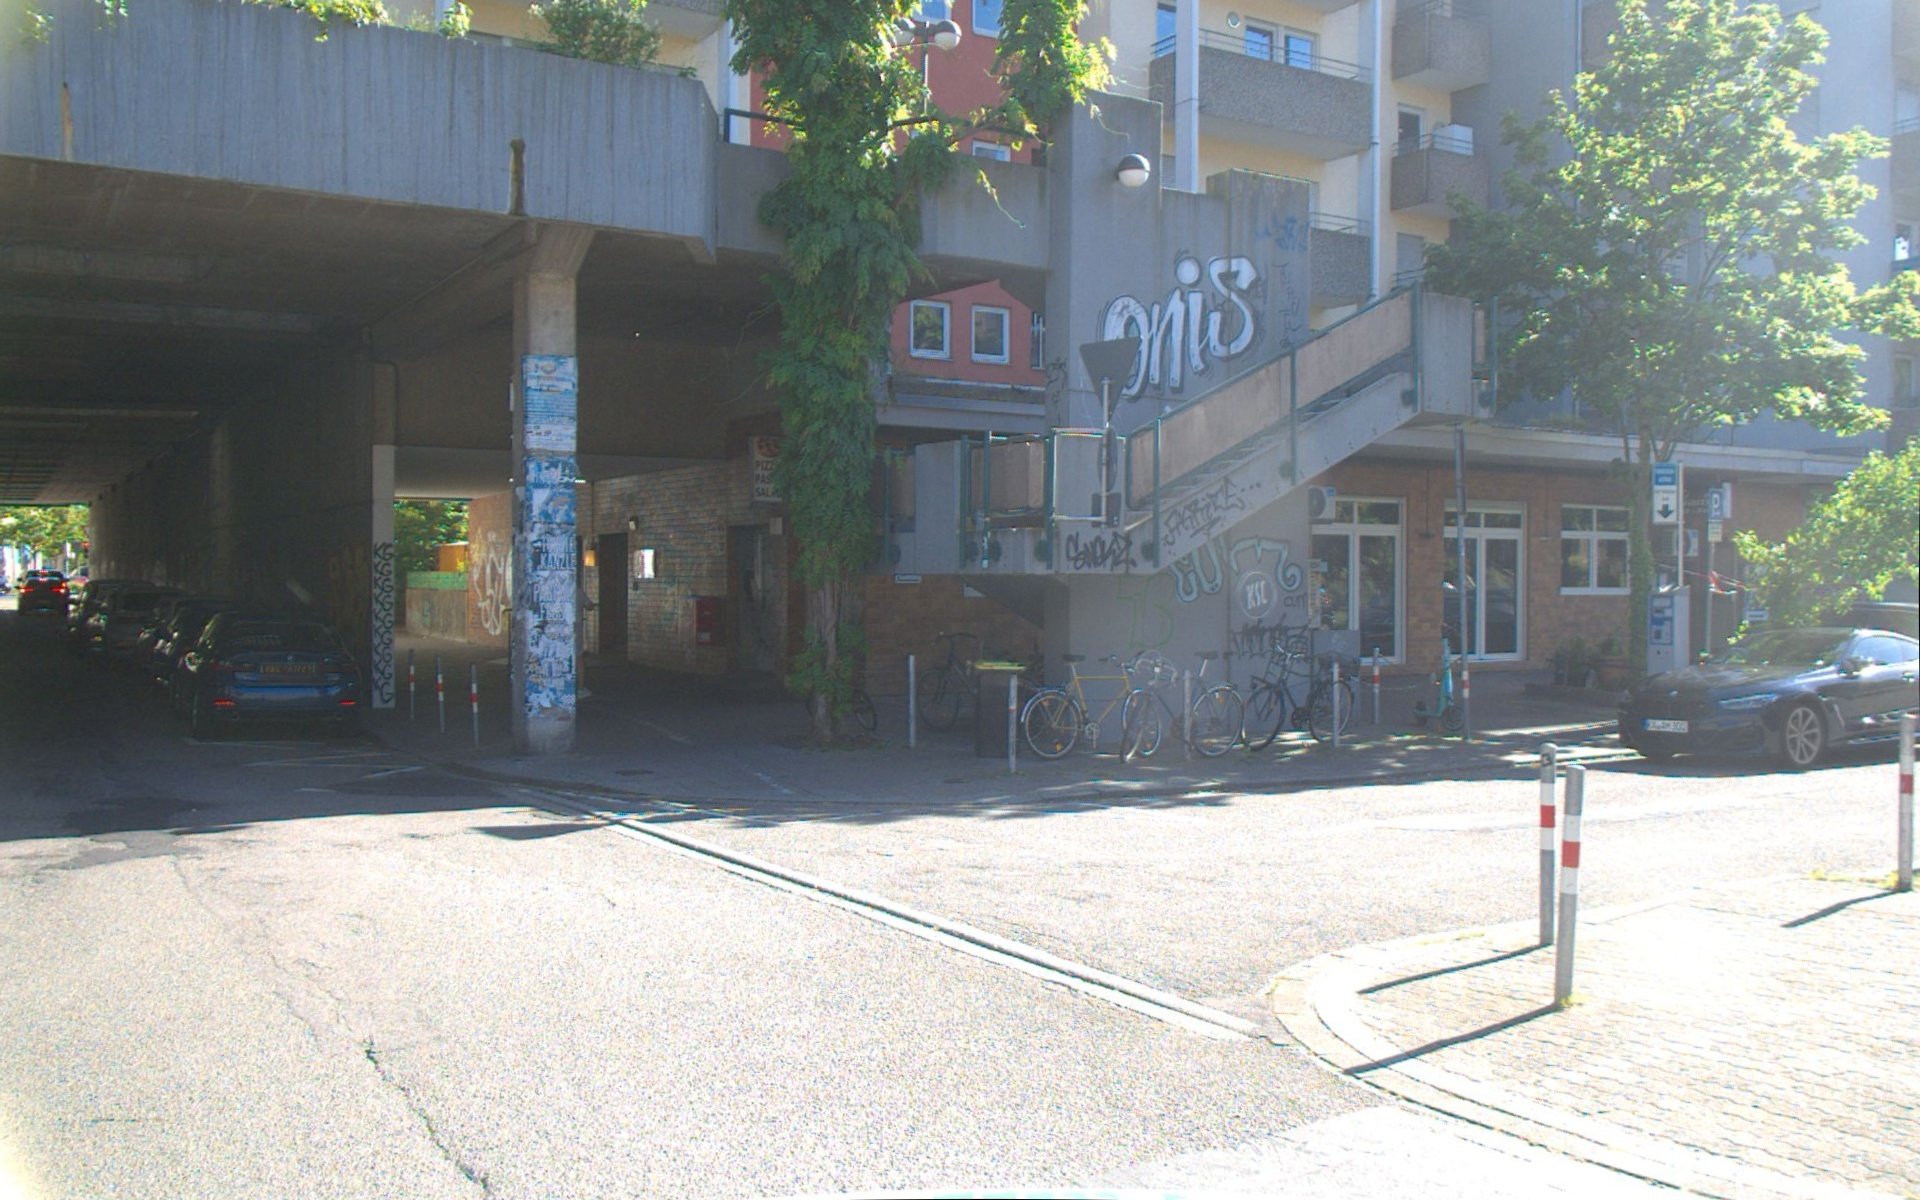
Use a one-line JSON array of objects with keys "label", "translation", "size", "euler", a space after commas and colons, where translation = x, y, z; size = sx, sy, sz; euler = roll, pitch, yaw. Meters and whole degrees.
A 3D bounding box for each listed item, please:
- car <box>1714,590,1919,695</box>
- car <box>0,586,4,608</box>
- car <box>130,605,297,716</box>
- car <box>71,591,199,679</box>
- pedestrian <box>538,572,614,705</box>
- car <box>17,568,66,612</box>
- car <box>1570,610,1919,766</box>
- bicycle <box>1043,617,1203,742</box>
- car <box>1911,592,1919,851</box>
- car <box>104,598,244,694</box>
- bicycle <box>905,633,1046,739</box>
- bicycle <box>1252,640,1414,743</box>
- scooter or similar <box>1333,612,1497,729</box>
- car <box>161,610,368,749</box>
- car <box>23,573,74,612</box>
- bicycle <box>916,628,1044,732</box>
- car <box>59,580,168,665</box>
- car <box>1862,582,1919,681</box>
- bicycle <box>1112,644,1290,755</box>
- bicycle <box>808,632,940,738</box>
[{"label": "car", "translation": [14.435, 0.632, 26.554], "size": [1.749, 1.578, 3.952], "euler": [0, 1, -34]}, {"label": "car", "translation": [-72.602, -0.202, 121.549], "size": [3.940, 1.601, 1.625], "euler": [0, 0, -27]}, {"label": "car", "translation": [-11.054, 0.819, 24.362], "size": [1.744, 1.435, 4.019], "euler": [-1, 0, -32]}, {"label": "car", "translation": [-16.057, 0.624, 32.099], "size": [1.715, 1.573, 4.106], "euler": [-1, 0, -34]}, {"label": "pedestrian", "translation": [-5.198, 0.500, 22.360], "size": [0.786, 1.728, 0.749], "euler": [0, 3, -33]}, {"label": "car", "translation": [-41.560, -0.482, 74.773], "size": [1.797, 1.915, 4.538], "euler": [-1, 1, -31]}, {"label": "car", "translation": [8.753, 0.844, 17.557], "size": [4.466, 1.422, 1.878], "euler": [-1, 0, -30]}, {"label": "bicycle", "translation": [1.694, 0.814, 17.258], "size": [1.598, 1.259, 0.459], "euler": [0, 0, -10]}, {"label": "car", "translation": [7.615, 0.702, 10.200], "size": [3.490, 1.545, 1.704], "euler": [-1, 0, -35]}, {"label": "car", "translation": [-13.566, 0.737, 28.467], "size": [1.590, 1.513, 3.592], "euler": [-1, 0, -35]}, {"label": "bicycle", "translation": [0.155, 0.902, 17.804], "size": [1.585, 1.018, 0.414], "euler": [2, 3, 36]}, {"label": "bicycle", "translation": [4.035, 0.974, 17.870], "size": [1.771, 1.018, 0.413], "euler": [-1, 3, -23]}, {"label": "scooter or similar", "translation": [5.455, 0.815, 19.937], "size": [0.624, 1.299, 1.948], "euler": [-1, 1, -36]}, {"label": "car", "translation": [-8.647, 0.895, 20.333], "size": [1.831, 1.458, 4.562], "euler": [2, -1, -29]}, {"label": "car", "translation": [-38.015, -0.340, 68.940], "size": [1.807, 1.527, 4.168], "euler": [0, 1, -30]}, {"label": "bicycle", "translation": [0.202, 0.876, 18.602], "size": [0.411, 1.018, 1.777], "euler": [-2, 3, -38]}, {"label": "car", "translation": [-18.811, 0.446, 36.667], "size": [1.835, 1.695, 4.324], "euler": [0, 1, -31]}, {"label": "car", "translation": [17.255, 0.525, 27.153], "size": [1.820, 1.635, 3.952], "euler": [0, 1, -34]}, {"label": "bicycle", "translation": [2.463, 1.002, 16.895], "size": [1.766, 1.048, 0.414], "euler": [0, 3, -16]}, {"label": "bicycle", "translation": [-0.958, 0.896, 17.955], "size": [0.480, 1.018, 1.777], "euler": [-2, 2, -39]}]
